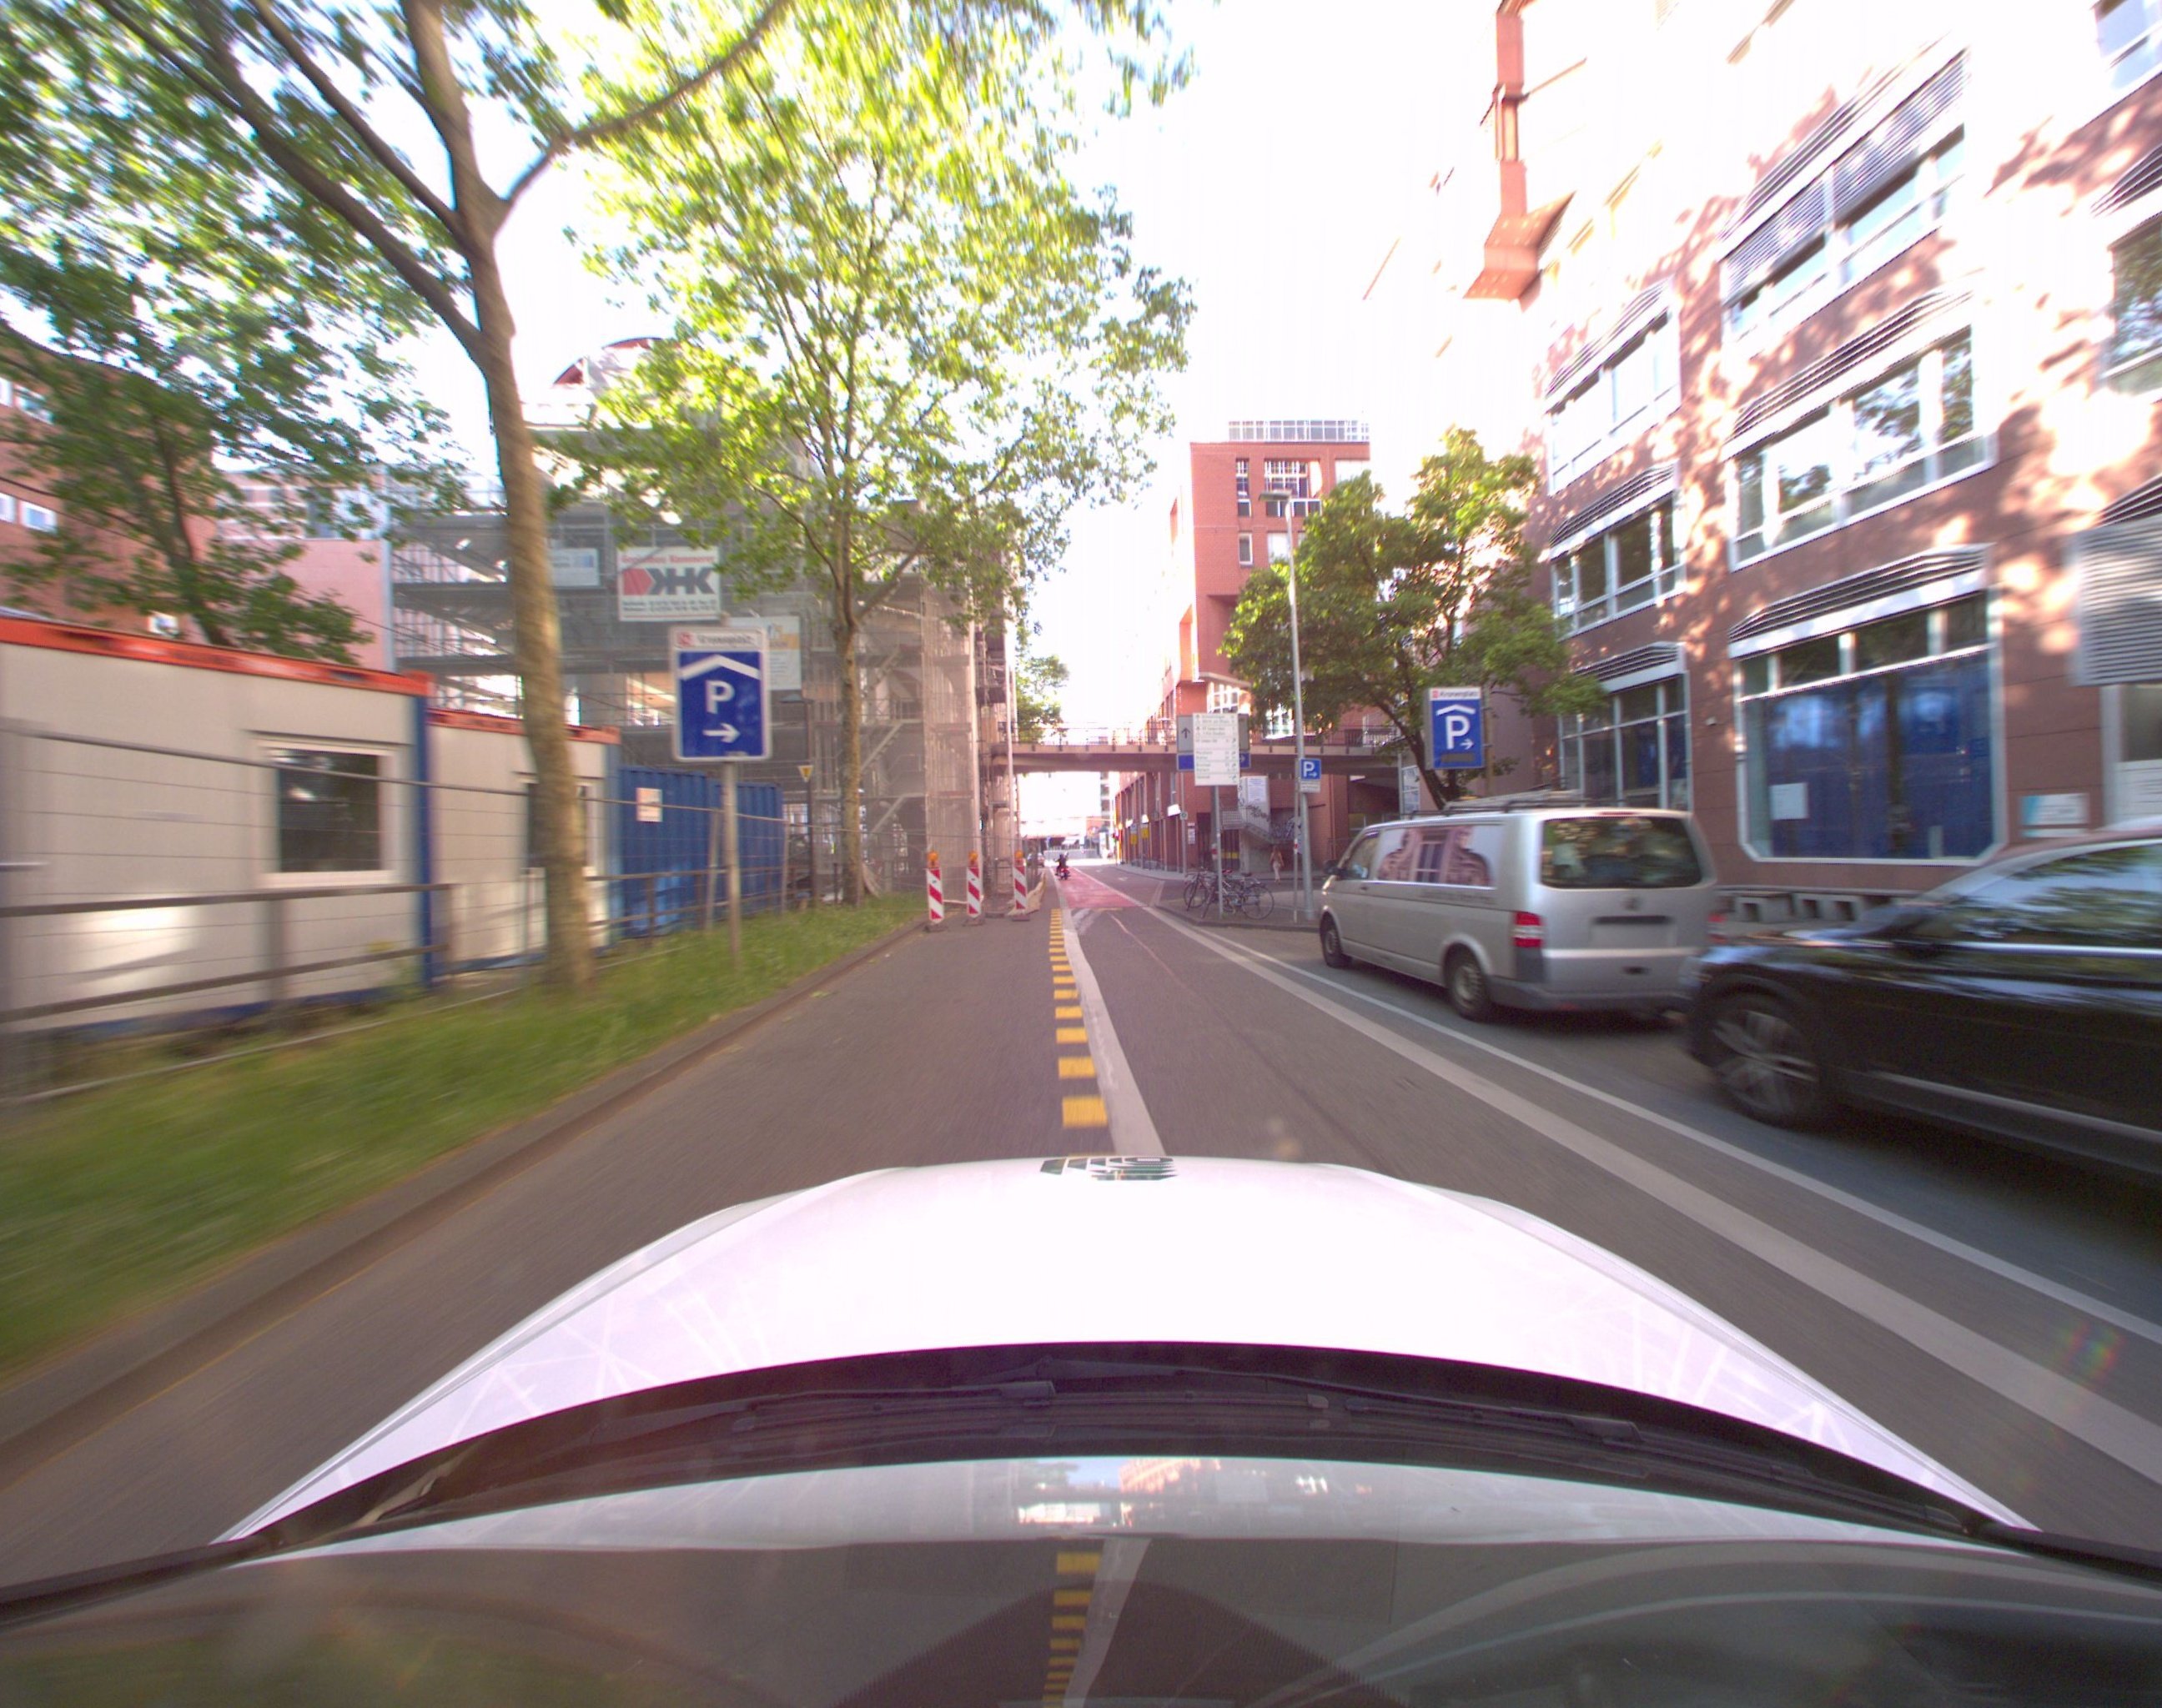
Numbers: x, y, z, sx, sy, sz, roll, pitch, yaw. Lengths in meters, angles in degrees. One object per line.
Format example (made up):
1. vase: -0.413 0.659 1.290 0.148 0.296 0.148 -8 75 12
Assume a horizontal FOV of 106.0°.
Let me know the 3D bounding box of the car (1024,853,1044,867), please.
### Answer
1. car: -4.846 0.596 83.671 1.920 1.388 3.993 -2 1 -5

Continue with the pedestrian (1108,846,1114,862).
1. pedestrian: 3.390 0.005 91.894 0.632 1.725 0.629 -2 0 -3

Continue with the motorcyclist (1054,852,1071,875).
1. motorcyclist: -1.150 0.551 49.157 0.968 1.347 1.136 -1 0 -4

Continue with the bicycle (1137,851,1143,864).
1. bicycle: 5.281 0.297 72.965 0.338 1.183 1.677 -2 1 -1

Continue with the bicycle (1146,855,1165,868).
1. bicycle: 5.569 0.581 61.274 1.330 0.841 0.424 -5 0 -2

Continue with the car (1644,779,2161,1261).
1. car: 4.597 0.544 3.121 1.784 1.670 4.195 -2 0 -3

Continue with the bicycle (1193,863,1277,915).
1. bicycle: 3.280 0.750 17.314 1.663 1.067 0.514 -1 0 20

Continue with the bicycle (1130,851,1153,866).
1. bicycle: 5.138 0.390 69.414 1.887 1.119 0.474 -3 0 -4

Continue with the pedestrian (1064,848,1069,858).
1. pedestrian: -2.242 -0.190 125.354 0.550 1.583 0.544 -2 0 44

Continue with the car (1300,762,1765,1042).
1. car: 4.186 0.346 8.840 1.914 2.078 5.164 -2 0 -3

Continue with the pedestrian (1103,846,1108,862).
1. pedestrian: 2.757 0.020 91.956 0.475 1.792 0.540 -2 0 -3

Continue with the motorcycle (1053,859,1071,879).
1. motorcycle: -1.136 0.894 49.017 0.971 1.131 2.801 -1 0 -3

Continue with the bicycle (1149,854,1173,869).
1. bicycle: 5.754 0.556 58.532 1.607 0.955 0.554 -5 0 -2

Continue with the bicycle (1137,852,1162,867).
1. bicycle: 5.527 0.453 65.400 1.887 1.119 0.549 -3 0 -4

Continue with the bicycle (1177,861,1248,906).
1. bicycle: 3.263 0.732 20.269 1.661 1.067 0.504 -1 0 31

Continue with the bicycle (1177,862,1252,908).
1. bicycle: 3.195 0.737 19.549 1.661 1.067 0.504 -1 0 31

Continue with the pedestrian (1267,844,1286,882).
1. pedestrian: 8.493 0.379 35.388 0.568 1.633 0.777 -1 0 -4
